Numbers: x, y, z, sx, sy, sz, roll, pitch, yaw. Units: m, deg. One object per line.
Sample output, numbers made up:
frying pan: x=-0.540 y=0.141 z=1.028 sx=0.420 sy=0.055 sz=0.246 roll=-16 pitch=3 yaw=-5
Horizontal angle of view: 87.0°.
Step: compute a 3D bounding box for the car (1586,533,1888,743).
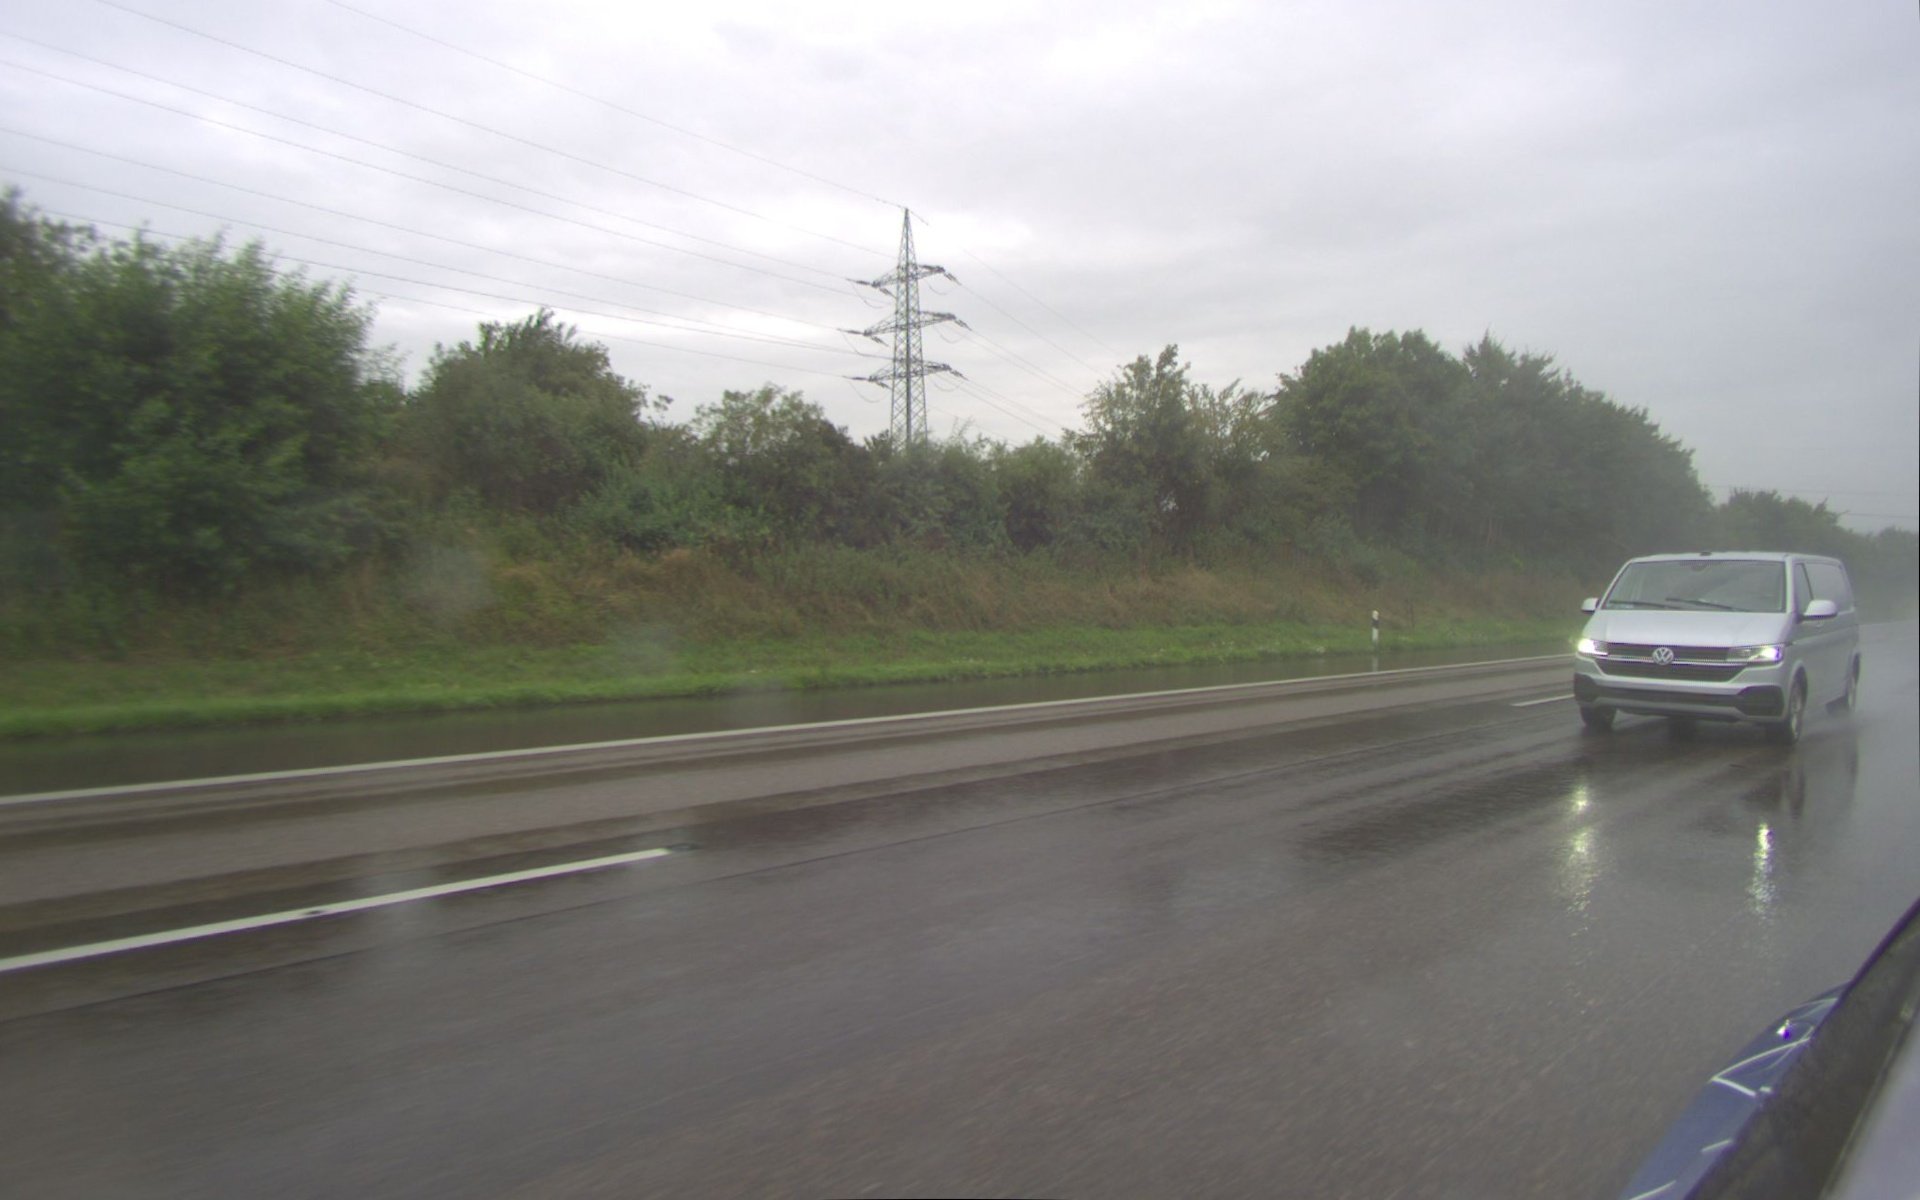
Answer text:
car: x=9.008 y=0.326 z=11.545 sx=4.923 sy=1.907 sz=1.890 roll=0 pitch=1 yaw=-42
